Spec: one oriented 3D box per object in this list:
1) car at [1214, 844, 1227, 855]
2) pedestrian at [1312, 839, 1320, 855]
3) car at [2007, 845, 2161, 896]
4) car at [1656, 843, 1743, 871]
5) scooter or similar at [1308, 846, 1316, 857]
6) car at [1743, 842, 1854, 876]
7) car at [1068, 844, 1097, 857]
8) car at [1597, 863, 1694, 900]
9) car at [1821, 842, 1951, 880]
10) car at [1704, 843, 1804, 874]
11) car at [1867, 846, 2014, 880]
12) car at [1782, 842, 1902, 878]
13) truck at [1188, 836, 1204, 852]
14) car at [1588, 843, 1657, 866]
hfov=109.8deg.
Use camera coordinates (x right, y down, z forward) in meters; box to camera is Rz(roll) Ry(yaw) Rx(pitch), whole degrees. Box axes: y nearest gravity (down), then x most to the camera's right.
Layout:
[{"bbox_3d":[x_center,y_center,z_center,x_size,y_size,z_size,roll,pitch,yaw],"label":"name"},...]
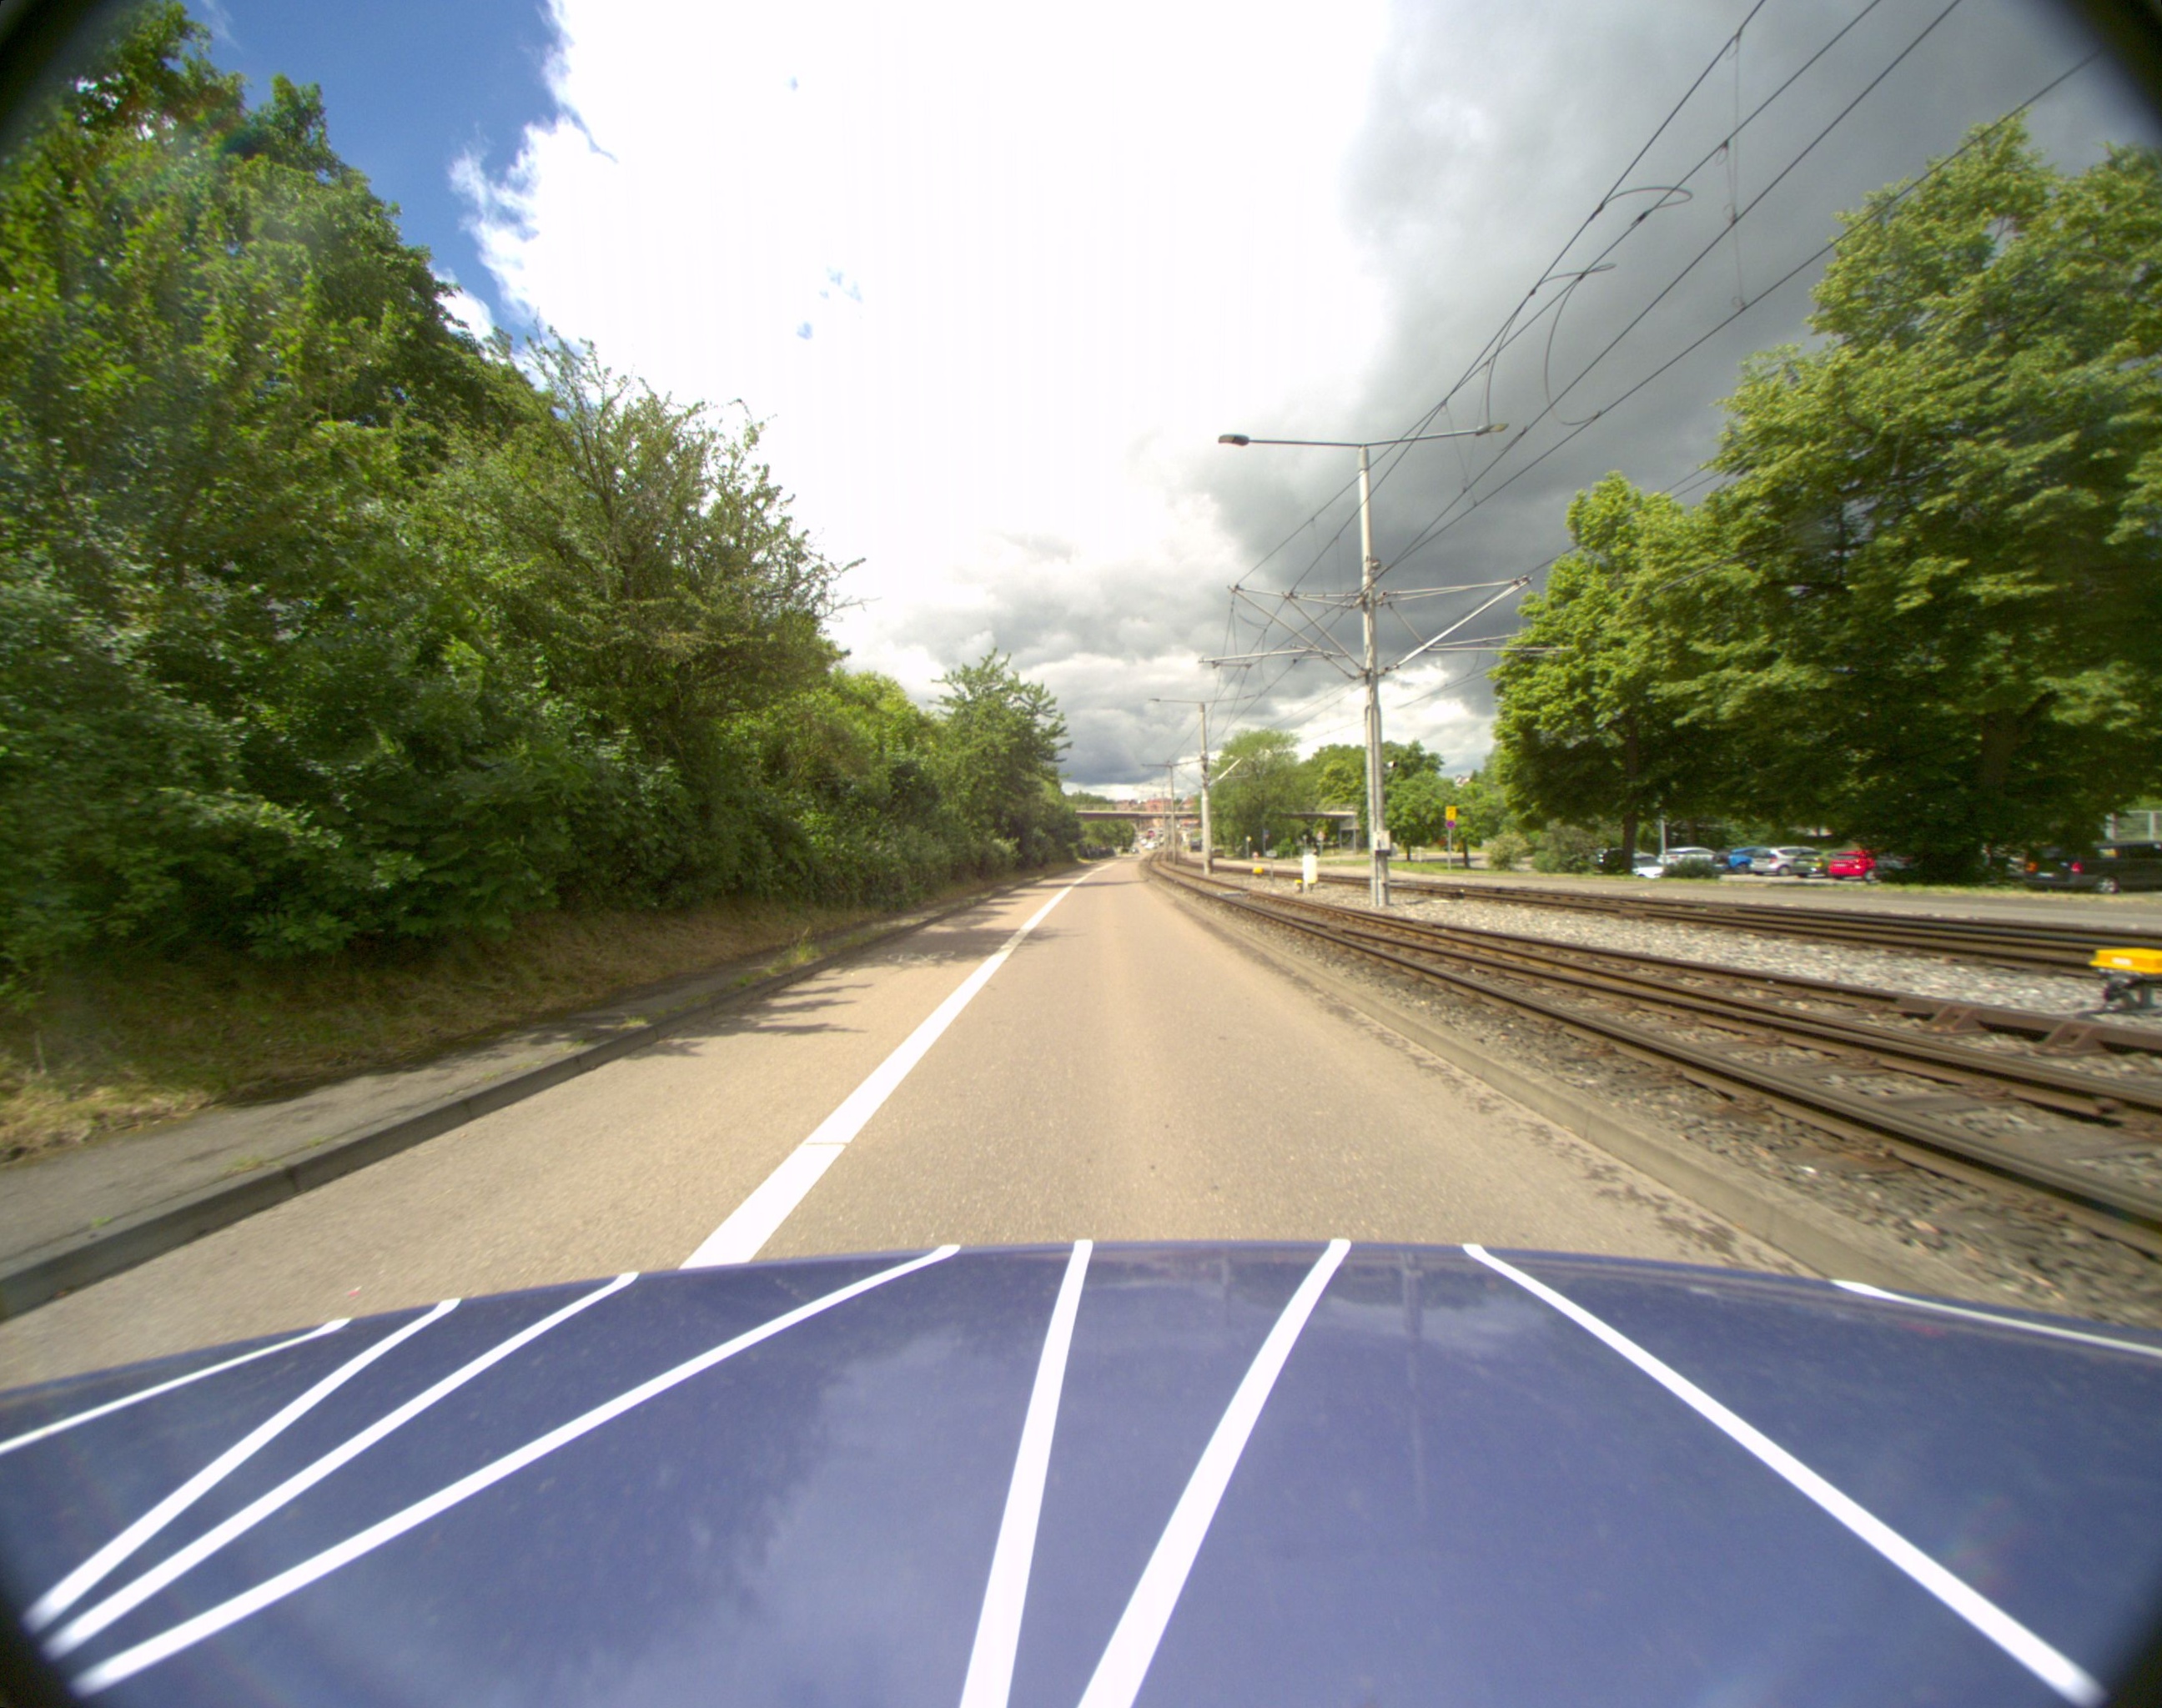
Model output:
[{"bbox_3d":[21.736,-0.697,118.636,1.692,1.442,3.899,-4,2,8],"label":"car"},{"bbox_3d":[27.184,-0.785,87.969,0.662,1.746,0.718,-4,3,8],"label":"pedestrian"},{"bbox_3d":[37.608,0.585,28.236,3.602,1.628,1.952,-4,1,11],"label":"car"},{"bbox_3d":[40.041,0.210,49.279,3.922,1.570,1.844,-4,0,13],"label":"car"},{"bbox_3d":[26.409,-0.281,86.918,0.712,1.141,0.788,-4,3,9],"label":"scooter or similar"},{"bbox_3d":[39.736,0.269,42.180,3.962,1.570,1.995,-4,0,8],"label":"car"},{"bbox_3d":[0.209,-0.650,127.375,4.532,1.663,2.000,6,4,7],"label":"car"},{"bbox_3d":[29.415,1.393,39.759,1.994,1.744,4.070,-4,0,1],"label":"car"},{"bbox_3d":[39.397,0.346,37.295,3.962,1.570,1.997,-4,0,8],"label":"car"},{"bbox_3d":[39.462,0.275,44.619,3.962,1.570,1.870,-4,0,8],"label":"car"},{"bbox_3d":[39.219,0.418,34.775,4.090,1.245,1.997,-4,0,8],"label":"car"},{"bbox_3d":[39.467,0.307,39.512,3.962,1.570,1.997,-4,0,8],"label":"car"},{"bbox_3d":[26.427,-2.438,174.720,2.877,3.301,9.030,-4,2,5],"label":"truck"},{"bbox_3d":[40.345,0.050,56.686,3.876,1.383,1.574,-4,2,10],"label":"car"}]
